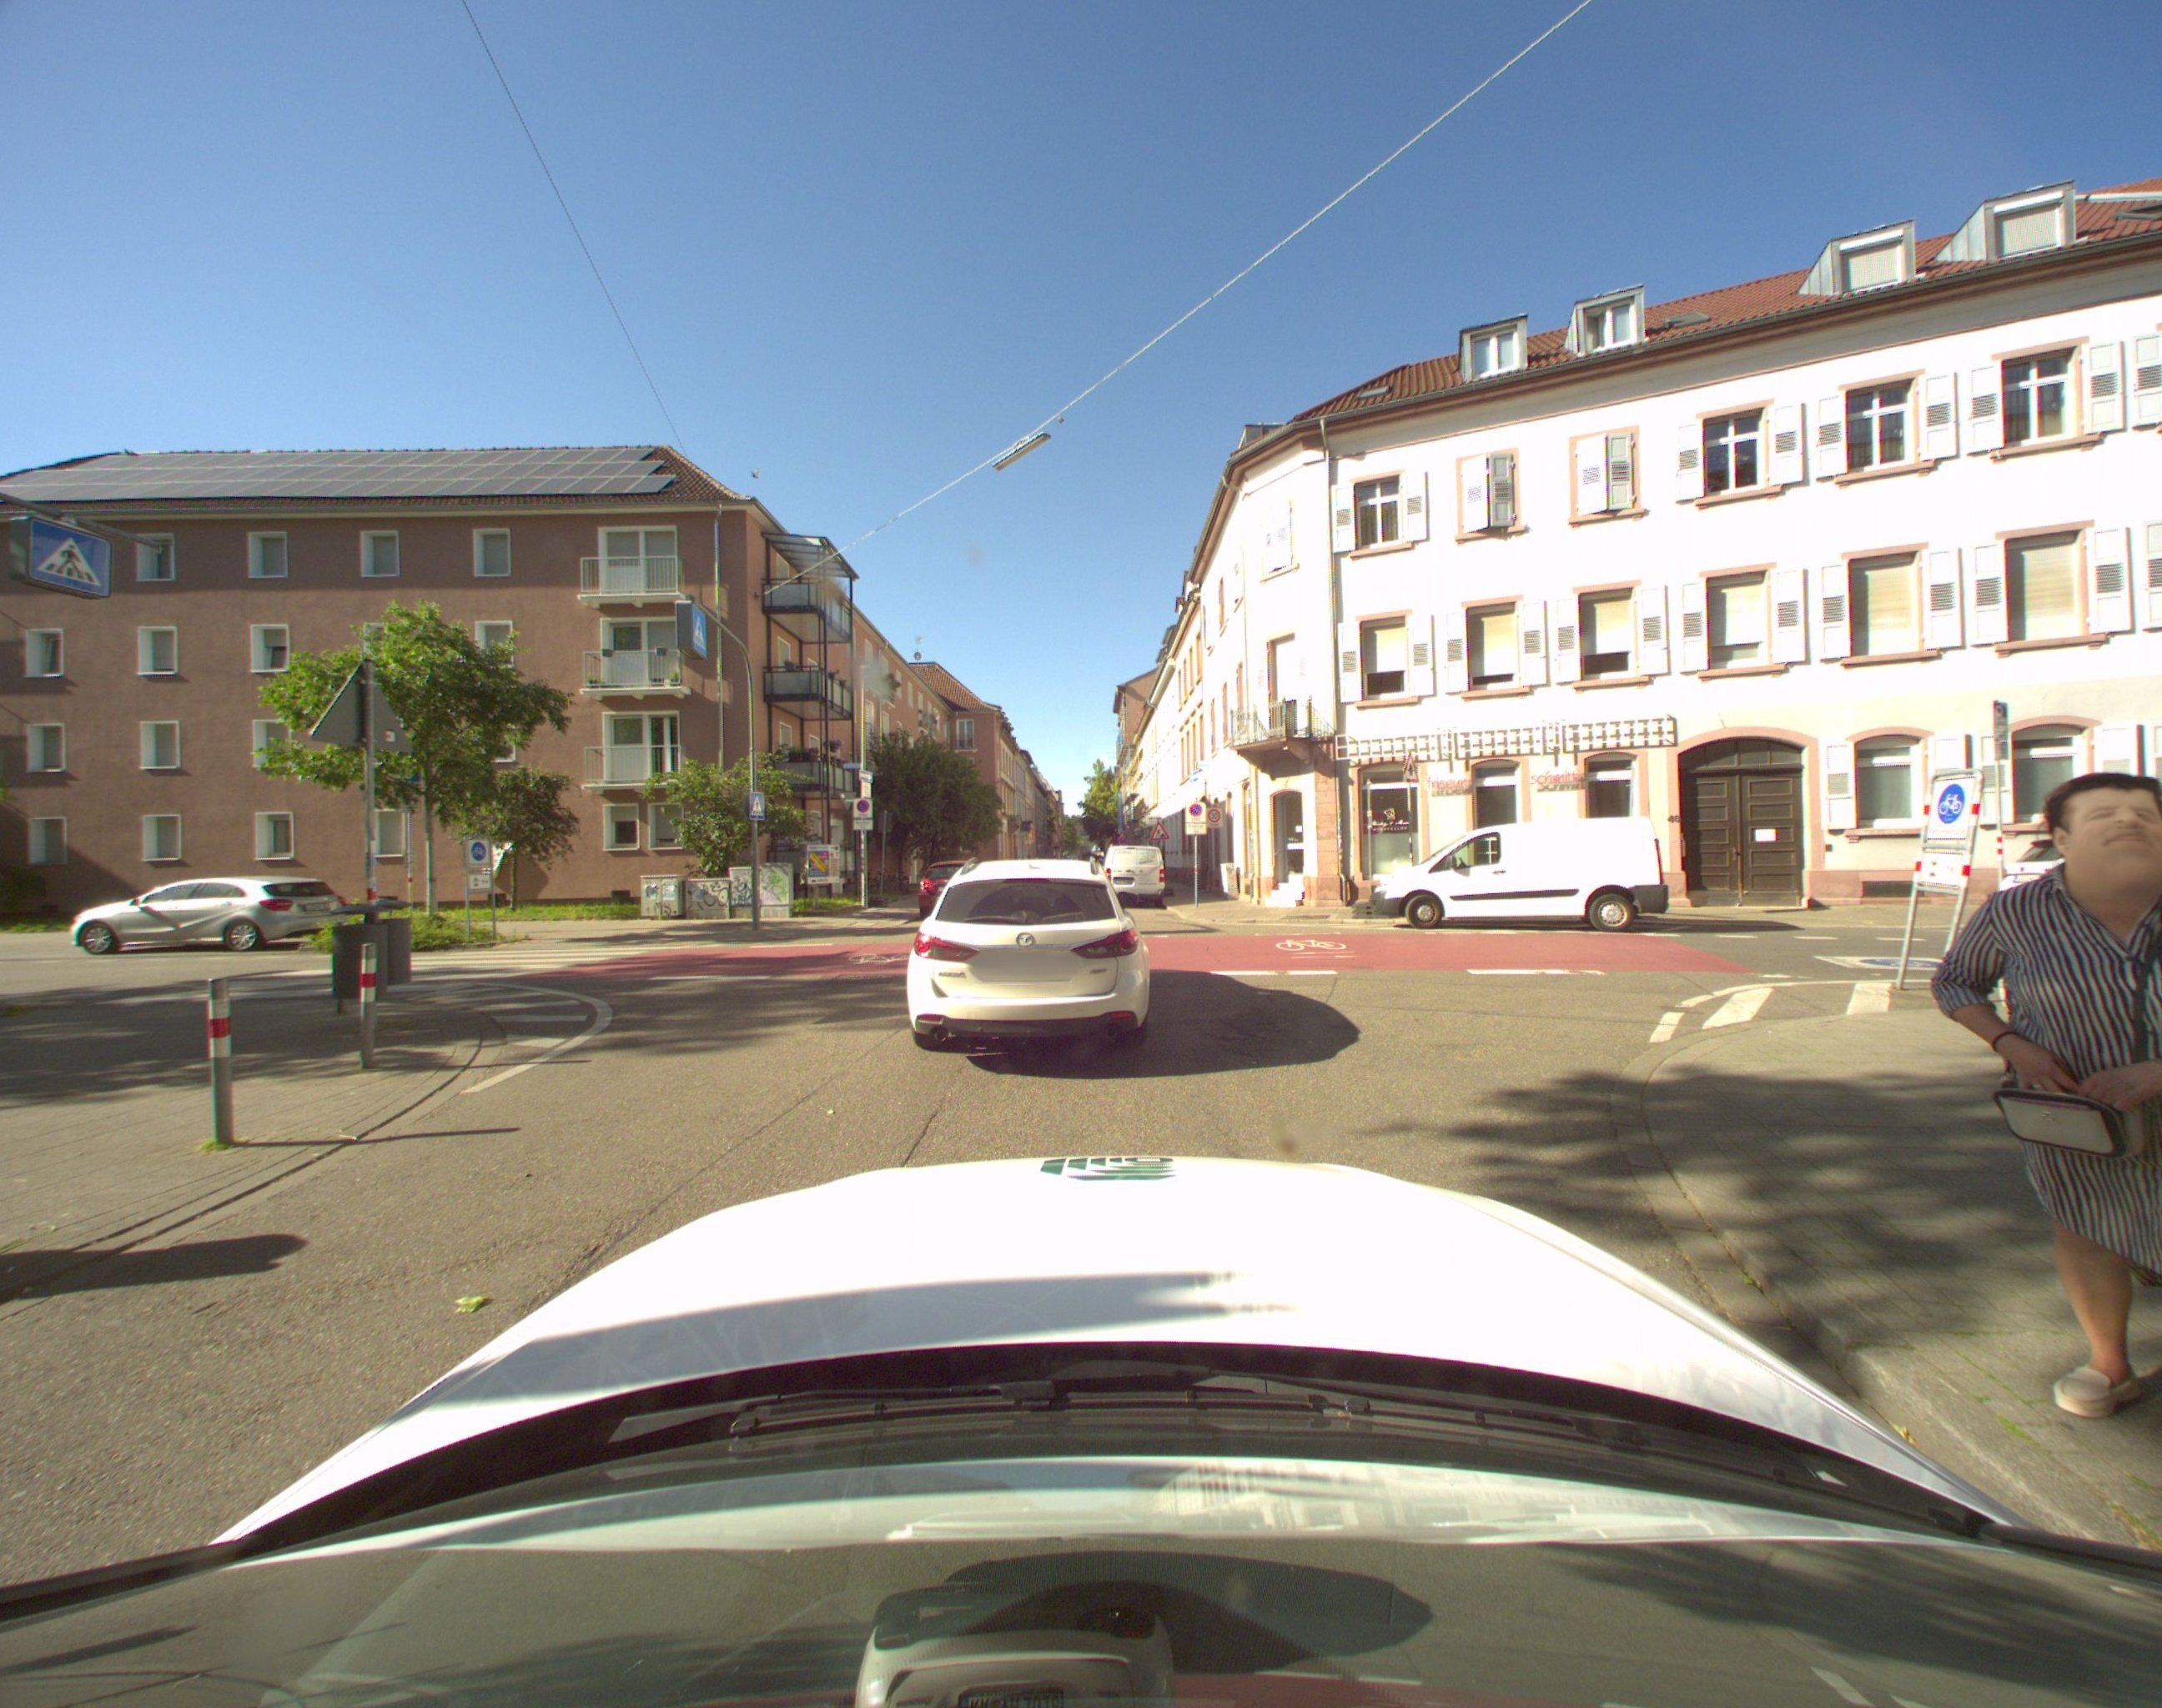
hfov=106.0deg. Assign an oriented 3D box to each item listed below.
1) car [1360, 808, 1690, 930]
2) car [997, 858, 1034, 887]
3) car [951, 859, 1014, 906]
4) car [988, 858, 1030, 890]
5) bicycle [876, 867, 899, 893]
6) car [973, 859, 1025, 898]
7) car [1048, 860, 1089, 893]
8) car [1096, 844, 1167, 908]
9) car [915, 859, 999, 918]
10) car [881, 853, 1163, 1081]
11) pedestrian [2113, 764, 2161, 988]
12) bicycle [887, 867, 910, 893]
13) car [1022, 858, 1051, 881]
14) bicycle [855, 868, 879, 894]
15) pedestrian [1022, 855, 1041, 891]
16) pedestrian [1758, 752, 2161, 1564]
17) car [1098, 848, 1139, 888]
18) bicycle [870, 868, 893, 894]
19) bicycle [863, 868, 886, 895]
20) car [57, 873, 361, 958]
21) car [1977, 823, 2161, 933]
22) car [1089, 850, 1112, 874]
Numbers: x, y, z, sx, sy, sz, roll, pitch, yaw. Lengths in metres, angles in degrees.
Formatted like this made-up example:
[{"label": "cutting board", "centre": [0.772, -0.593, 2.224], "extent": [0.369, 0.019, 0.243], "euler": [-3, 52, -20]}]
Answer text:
[{"label": "car", "centre": [7.873, 0.294, 14.973], "extent": [4.964, 1.946, 2.062], "euler": [-1, 0, 24]}, {"label": "car", "centre": [-3.597, 1.019, 45.437], "extent": [1.647, 1.500, 3.764], "euler": [-1, 0, 1]}, {"label": "car", "centre": [-3.466, 0.961, 29.284], "extent": [1.647, 1.500, 4.081], "euler": [-1, 0, 1]}, {"label": "car", "centre": [-3.579, 0.973, 41.147], "extent": [1.647, 1.500, 3.764], "euler": [-1, 0, 1]}, {"label": "bicycle", "centre": [-8.183, 1.088, 34.481], "extent": [1.201, 1.071, 0.255], "euler": [-2, 0, 40]}, {"label": "car", "centre": [-3.394, 0.980, 34.336], "extent": [1.647, 1.500, 3.764], "euler": [-1, 0, 1]}, {"label": "car", "centre": [-0.547, 1.044, 38.792], "extent": [1.754, 1.410, 4.329], "euler": [-1, 0, 1]}, {"label": "car", "centre": [1.557, 0.663, 26.782], "extent": [1.889, 1.859, 5.011], "euler": [1, 0, -1]}, {"label": "car", "centre": [-3.428, 0.913, 23.195], "extent": [1.678, 1.500, 3.808], "euler": [-1, 0, 1]}, {"label": "car", "centre": [-0.342, 0.743, 7.352], "extent": [1.824, 1.457, 3.963], "euler": [-1, 0, 1]}, {"label": "pedestrian", "centre": [7.806, 0.214, 5.307], "extent": [0.745, 1.765, 0.832], "euler": [-6, -6, 7]}, {"label": "bicycle", "centre": [-7.729, 1.090, 34.527], "extent": [1.204, 1.071, 0.255], "euler": [-2, 0, 40]}, {"label": "car", "centre": [-3.021, 1.041, 55.581], "extent": [1.647, 1.500, 3.764], "euler": [-1, 0, 1]}, {"label": "bicycle", "centre": [-8.843, 1.114, 33.685], "extent": [1.201, 1.035, 0.293], "euler": [-2, 0, 40]}, {"label": "pedestrian", "centre": [-2.248, 0.869, 37.162], "extent": [0.733, 1.614, 0.813], "euler": [-2, -1, -11]}, {"label": "pedestrian", "centre": [2.452, 0.564, 1.906], "extent": [0.841, 1.573, 0.846], "euler": [-7, -1, 1]}, {"label": "car", "centre": [1.832, 0.658, 40.560], "extent": [1.888, 1.859, 3.996], "euler": [-1, 0, 1]}, {"label": "bicycle", "centre": [-8.377, 1.124, 34.243], "extent": [1.201, 1.071, 0.255], "euler": [-2, 0, 40]}, {"label": "bicycle", "centre": [-8.613, 1.143, 33.933], "extent": [1.201, 1.072, 0.268], "euler": [-2, 0, 40]}, {"label": "car", "centre": [-17.291, 1.182, 16.296], "extent": [4.128, 1.454, 1.745], "euler": [-2, 0, 0]}, {"label": "car", "centre": [16.445, 0.329, 11.802], "extent": [4.330, 1.542, 1.655], "euler": [-1, -2, 23]}, {"label": "car", "centre": [1.633, 0.666, 67.978], "extent": [1.888, 1.859, 3.996], "euler": [-1, 0, 1]}]
